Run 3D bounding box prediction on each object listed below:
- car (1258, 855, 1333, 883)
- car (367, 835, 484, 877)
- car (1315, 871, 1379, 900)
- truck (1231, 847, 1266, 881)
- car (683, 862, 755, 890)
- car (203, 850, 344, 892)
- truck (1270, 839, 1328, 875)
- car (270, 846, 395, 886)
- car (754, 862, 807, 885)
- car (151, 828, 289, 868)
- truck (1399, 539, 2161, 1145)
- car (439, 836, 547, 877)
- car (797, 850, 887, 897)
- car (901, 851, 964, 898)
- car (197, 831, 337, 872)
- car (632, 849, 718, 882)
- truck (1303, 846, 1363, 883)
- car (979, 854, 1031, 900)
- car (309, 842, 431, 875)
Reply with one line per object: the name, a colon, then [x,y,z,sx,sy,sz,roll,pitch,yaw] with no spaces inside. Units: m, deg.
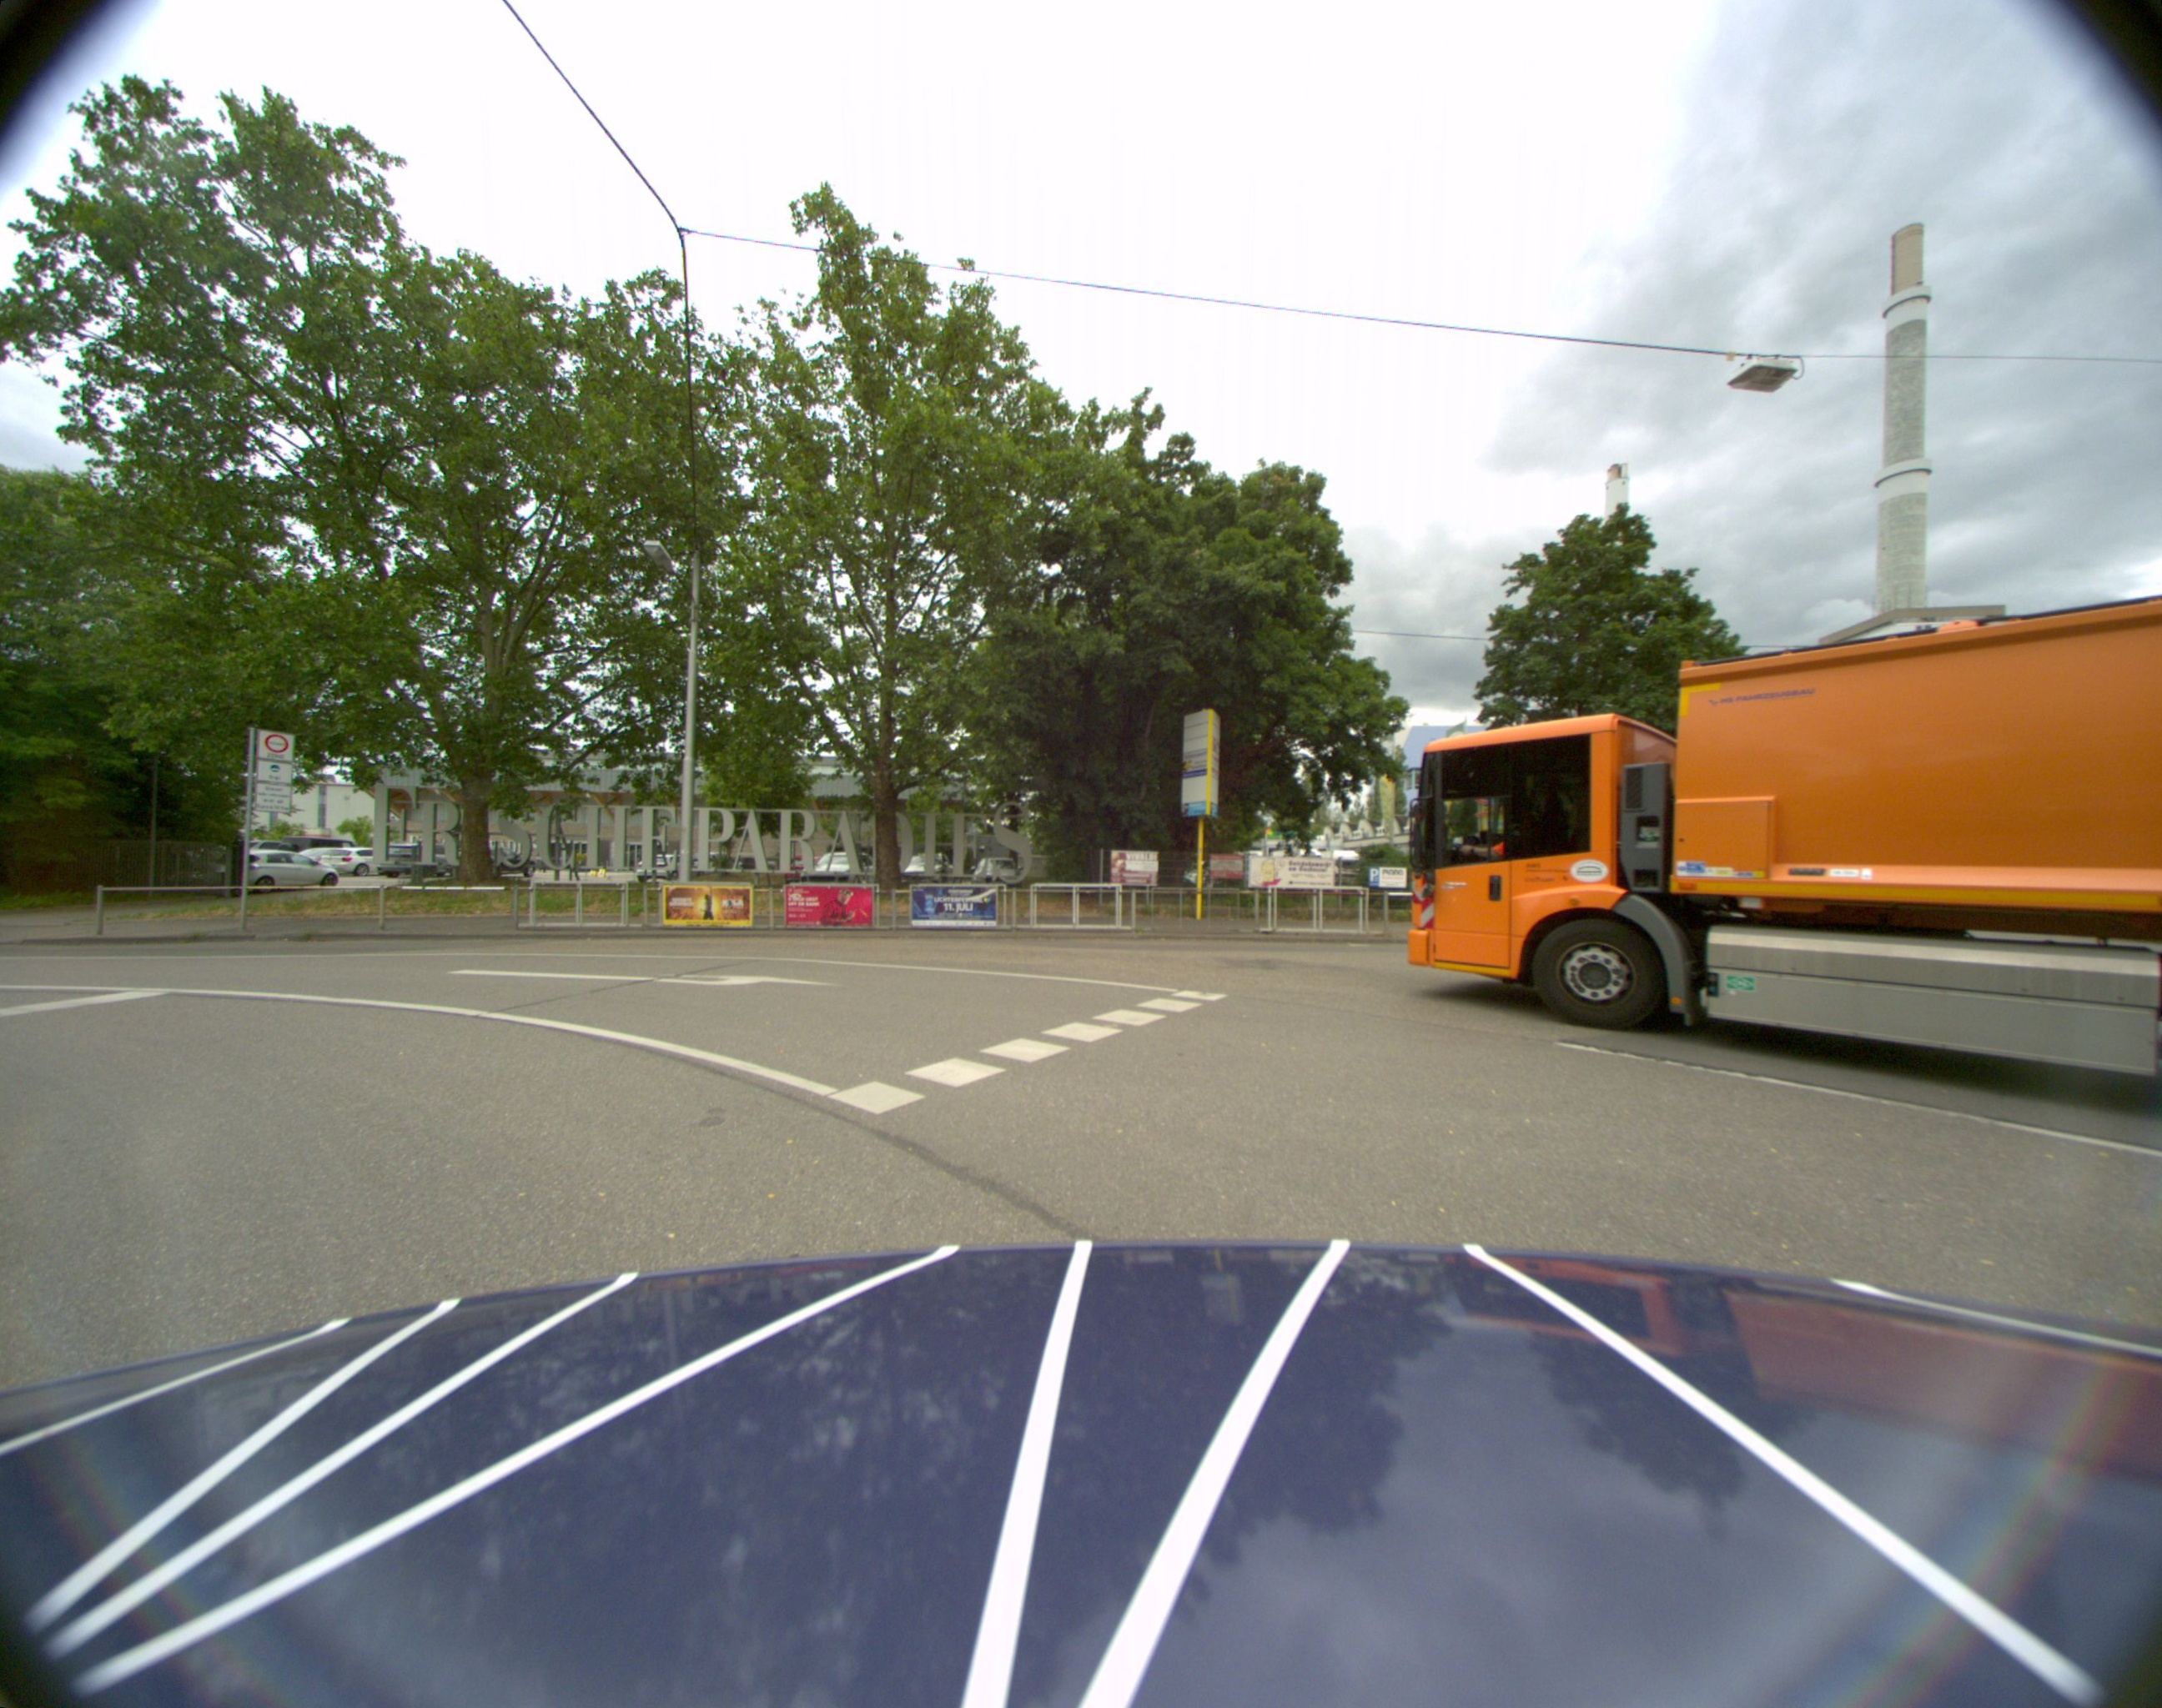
car: [22.380,1.585,79.482,7.146,2.716,2.245,2,-1,4]
car: [-33.620,0.131,39.164,1.999,2.001,4.641,1,-1,-1]
car: [12.348,1.430,35.538,1.708,1.241,3.702,2,-1,1]
truck: [21.991,1.288,100.028,2.996,4.141,9.192,1,-1,4]
car: [-21.131,1.278,44.631,1.999,1.552,4.641,1,-1,-1]
car: [-30.491,0.638,28.850,1.481,1.495,3.729,1,-1,-4]
truck: [25.801,0.474,90.956,2.849,3.909,15.734,2,-1,2]
car: [-39.685,0.652,40.477,1.999,2.001,4.641,1,-1,-1]
car: [-21.844,1.395,55.444,1.999,1.552,4.641,1,-1,-1]
car: [-46.765,-0.274,41.458,1.999,2.001,4.824,1,-1,-1]
truck: [7.692,-0.066,4.835,2.803,3.505,10.394,0,-1,-38]
car: [-30.338,0.162,39.435,1.999,2.001,4.641,1,-1,-1]
car: [-8.969,0.754,28.899,1.883,1.603,4.527,1,-2,1]
car: [-5.515,0.784,28.701,1.591,1.603,4.318,1,-2,-1]
car: [-43.478,-0.077,40.800,1.999,1.986,5.103,1,-1,-1]
car: [-21.097,0.617,39.723,1.999,1.552,4.641,1,-1,-1]
truck: [29.932,1.312,91.118,2.869,4.001,15.858,2,-1,4]
car: [-2.810,0.875,28.754,1.591,1.603,4.001,1,-2,-1]
car: [-36.943,0.259,39.665,1.999,1.549,4.641,1,-1,-1]
